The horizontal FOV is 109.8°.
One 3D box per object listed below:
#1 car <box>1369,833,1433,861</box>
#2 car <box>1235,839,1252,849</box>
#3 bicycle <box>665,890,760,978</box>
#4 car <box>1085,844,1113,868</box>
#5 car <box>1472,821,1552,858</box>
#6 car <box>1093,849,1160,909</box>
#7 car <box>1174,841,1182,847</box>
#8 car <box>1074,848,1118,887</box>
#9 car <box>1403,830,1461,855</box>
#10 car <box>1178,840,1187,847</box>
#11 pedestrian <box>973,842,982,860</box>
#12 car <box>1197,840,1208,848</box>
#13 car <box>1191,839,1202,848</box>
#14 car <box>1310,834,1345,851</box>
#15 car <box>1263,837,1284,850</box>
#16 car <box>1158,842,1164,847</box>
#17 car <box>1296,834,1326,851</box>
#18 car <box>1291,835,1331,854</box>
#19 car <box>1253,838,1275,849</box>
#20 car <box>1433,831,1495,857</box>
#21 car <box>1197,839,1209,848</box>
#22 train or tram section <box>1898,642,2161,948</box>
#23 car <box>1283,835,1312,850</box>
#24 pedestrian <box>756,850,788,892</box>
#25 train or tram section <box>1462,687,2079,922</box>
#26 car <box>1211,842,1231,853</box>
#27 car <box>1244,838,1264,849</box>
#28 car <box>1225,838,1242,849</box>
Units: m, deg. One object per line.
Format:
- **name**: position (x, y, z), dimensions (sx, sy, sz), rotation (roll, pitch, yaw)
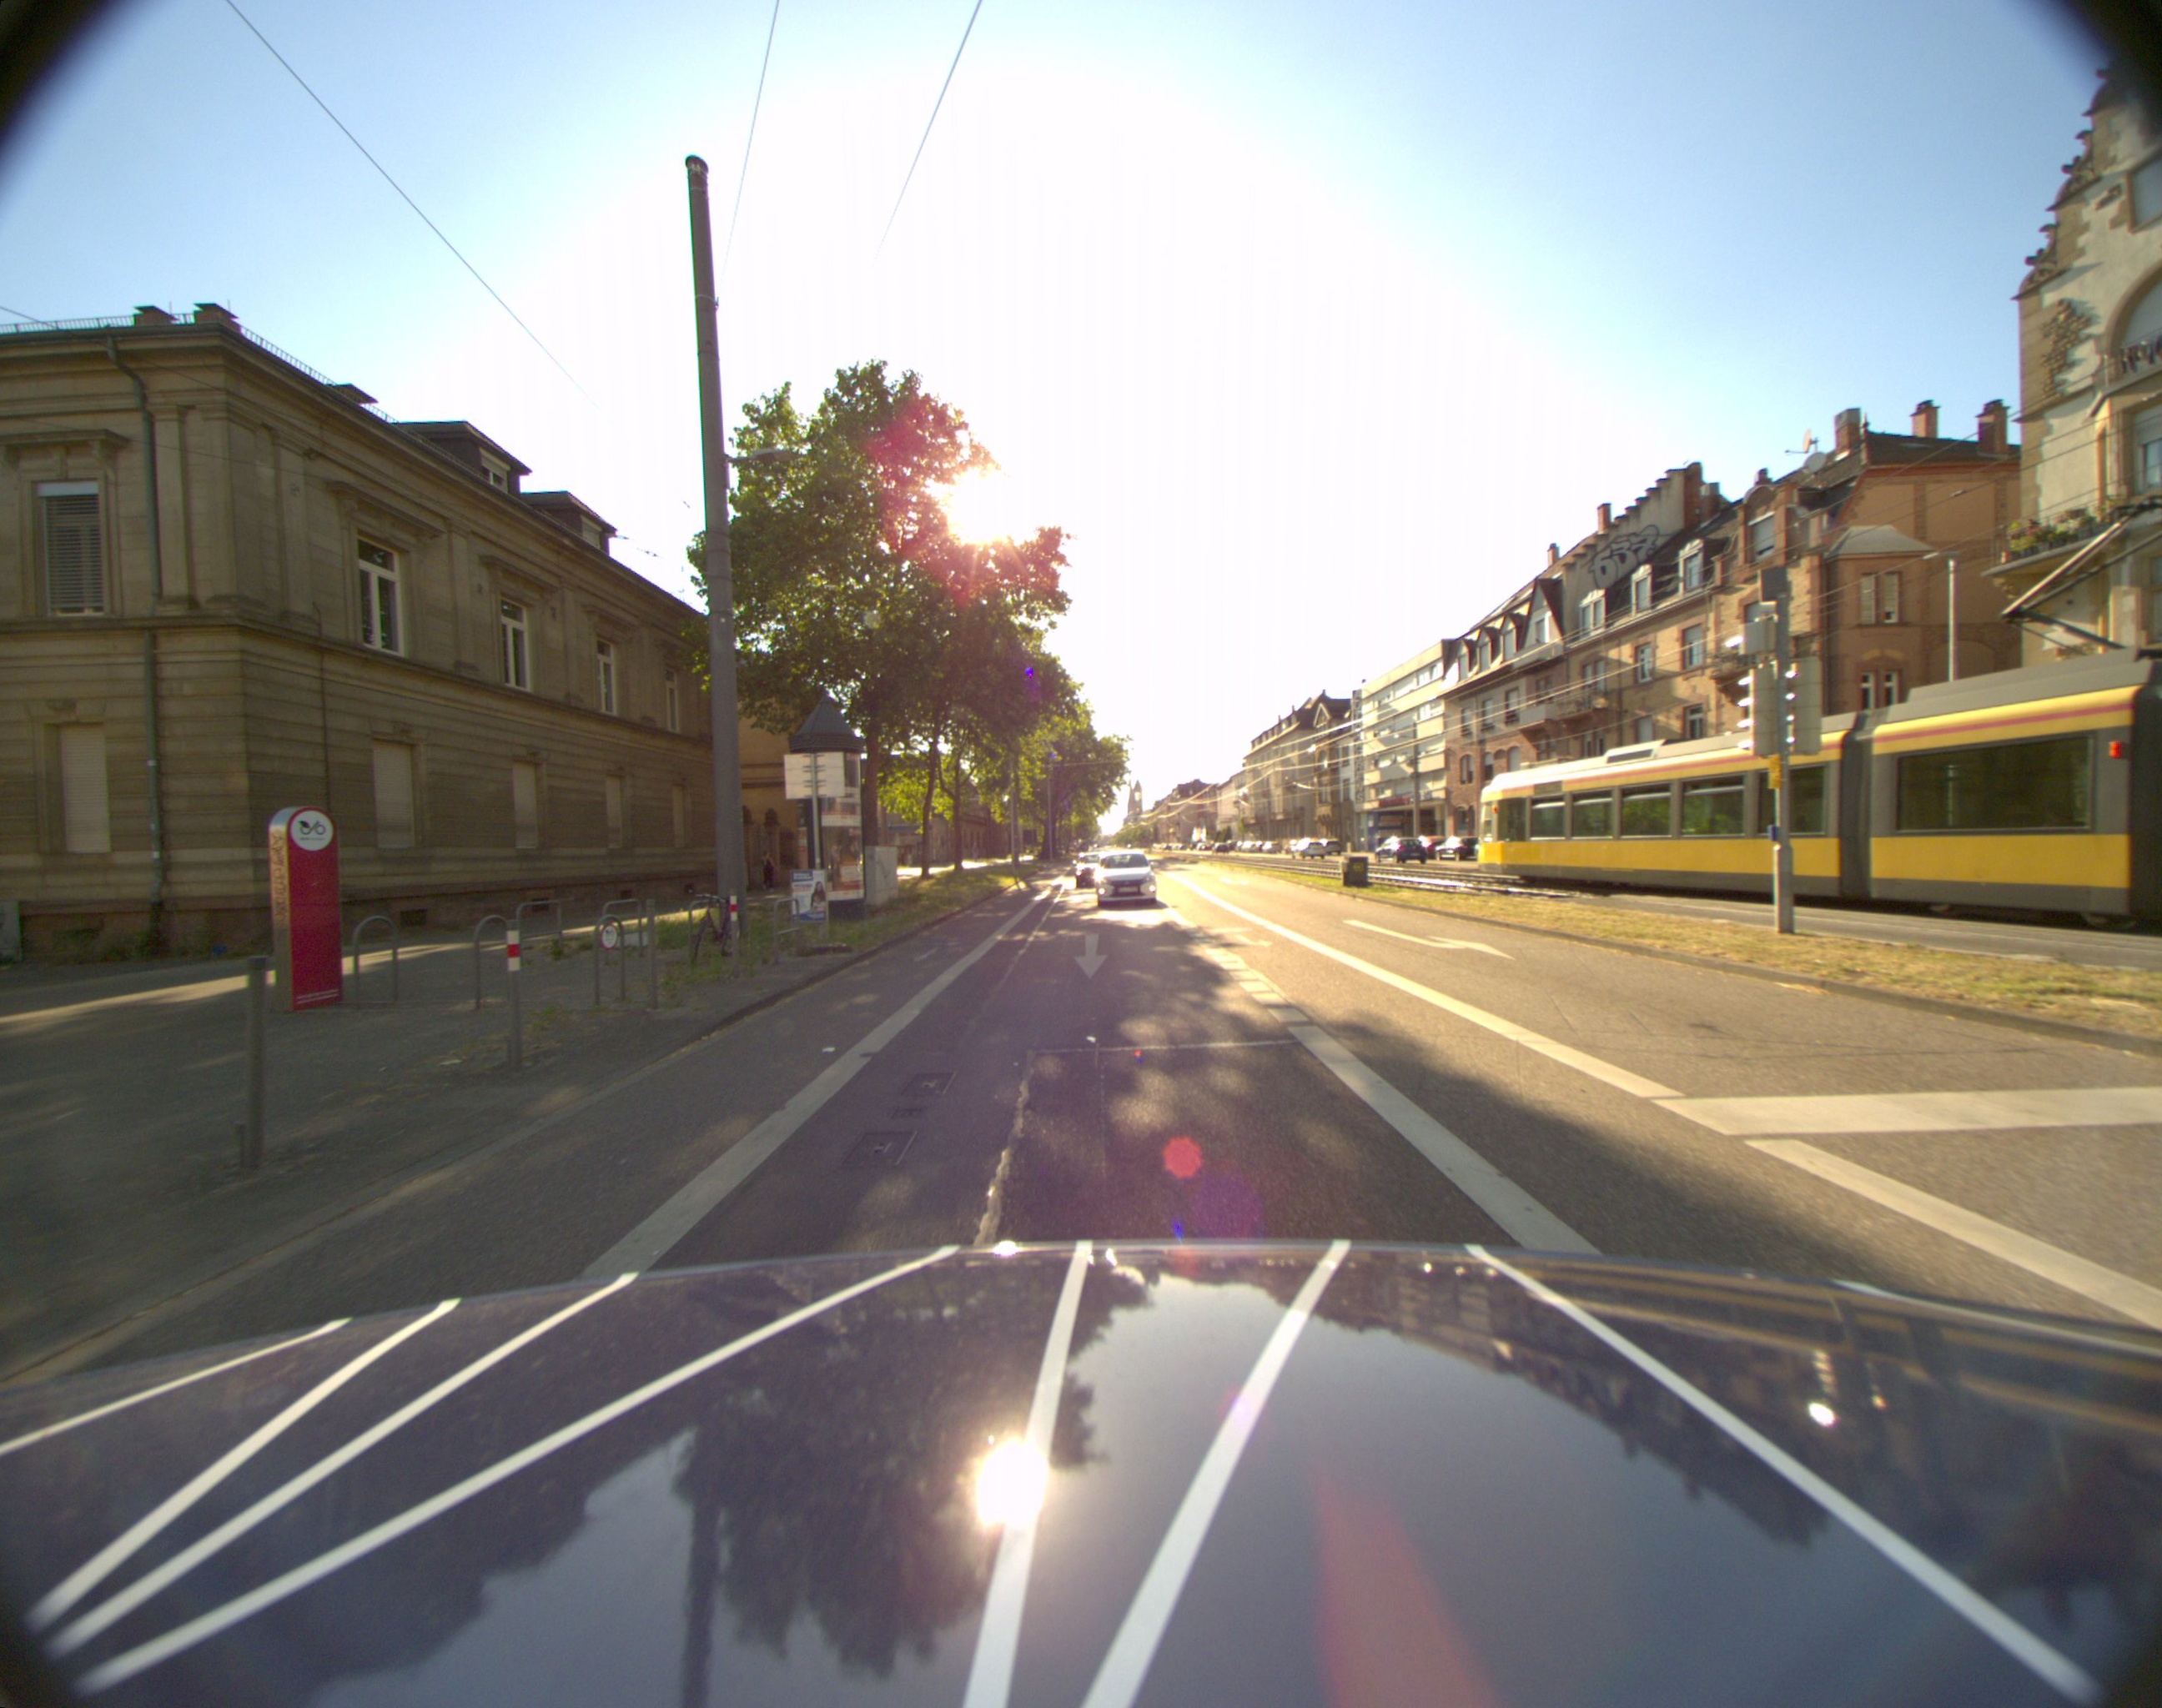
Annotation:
- **car**: position (17.833, -0.393, 42.571), dimensions (1.824, 1.449, 4.156), rotation (-1, 1, 0)
- **car**: position (24.930, -1.580, 116.868), dimensions (1.802, 1.471, 3.823), rotation (-3, 1, 1)
- **bicycle**: position (-5.245, 1.096, 10.926), dimensions (0.541, 1.055, 1.771), rotation (-2, 1, -3)
- **car**: position (1.255, 0.129, 52.370), dimensions (1.833, 1.543, 3.999), rotation (-2, 1, 1)
- **car**: position (23.262, -0.761, 41.247), dimensions (1.890, 1.748, 4.418), rotation (-5, 1, 3)
- **car**: position (1.234, 0.653, 22.027), dimensions (1.686, 1.462, 4.055), rotation (-3, 1, 1)
- **car**: position (24.727, -2.553, 193.941), dimensions (1.624, 1.581, 3.450), rotation (-3, 1, 1)
- **car**: position (0.656, 0.536, 32.462), dimensions (1.686, 1.462, 4.055), rotation (-3, 1, 1)
- **car**: position (23.609, -0.743, 51.284), dimensions (1.861, 1.490, 4.210), rotation (-5, 1, 0)
- **car**: position (24.674, -2.450, 185.136), dimensions (1.624, 1.581, 3.450), rotation (-3, 1, 1)
- **pedestrian**: position (-9.473, -0.316, 69.830), dimensions (0.672, 1.653, 0.874), rotation (-1, 1, 2)
- **car**: position (24.621, -2.040, 154.187), dimensions (1.684, 1.562, 3.388), rotation (-3, 1, 1)
- **car**: position (24.861, -2.343, 164.173), dimensions (1.727, 1.776, 3.880), rotation (-3, 1, 1)
- **car**: position (23.904, -1.127, 73.787), dimensions (1.861, 1.490, 4.381), rotation (-4, 1, 0)
- **car**: position (24.405, -1.313, 96.411), dimensions (1.802, 1.471, 3.823), rotation (-3, 1, 1)
- **car**: position (24.866, -3.042, 236.482), dimensions (1.624, 1.581, 3.450), rotation (-3, 1, 1)
- **car**: position (23.892, -1.195, 79.132), dimensions (1.860, 1.677, 4.263), rotation (-4, 1, 2)
- **car**: position (18.217, -0.765, 60.499), dimensions (1.824, 1.449, 4.540), rotation (-1, 1, 0)
- **car**: position (24.470, -1.393, 101.628), dimensions (1.802, 1.422, 3.822), rotation (-3, 1, -1)
- **car**: position (23.327, -0.609, 46.461), dimensions (1.699, 1.429, 3.927), rotation (-5, 1, 0)
- **car**: position (23.894, -1.989, 149.124), dimensions (1.677, 1.623, 3.407), rotation (-3, 1, 1)
- **train or tram section**: position (13.643, -0.661, 4.825), dimensions (2.820, 3.469, 13.202), rotation (-2, 1, 1)
- **car**: position (23.966, -1.231, 84.154), dimensions (1.756, 1.487, 3.728), rotation (-4, 1, -5)
- **pedestrian**: position (-12.078, 0.661, 29.732), dimensions (0.771, 1.597, 0.986), rotation (-1, 1, 2)
- **train or tram section**: position (13.766, -0.815, 18.105), dimensions (2.820, 3.469, 13.202), rotation (-2, 1, 1)
- **car**: position (18.740, -0.839, 101.592), dimensions (1.824, 1.449, 4.165), rotation (-1, 1, 0)
- **car**: position (24.043, -1.426, 105.809), dimensions (1.642, 1.438, 3.537), rotation (-3, 1, -7)
- **car**: position (24.572, -1.723, 122.495), dimensions (1.875, 1.727, 3.915), rotation (-3, 1, 1)
